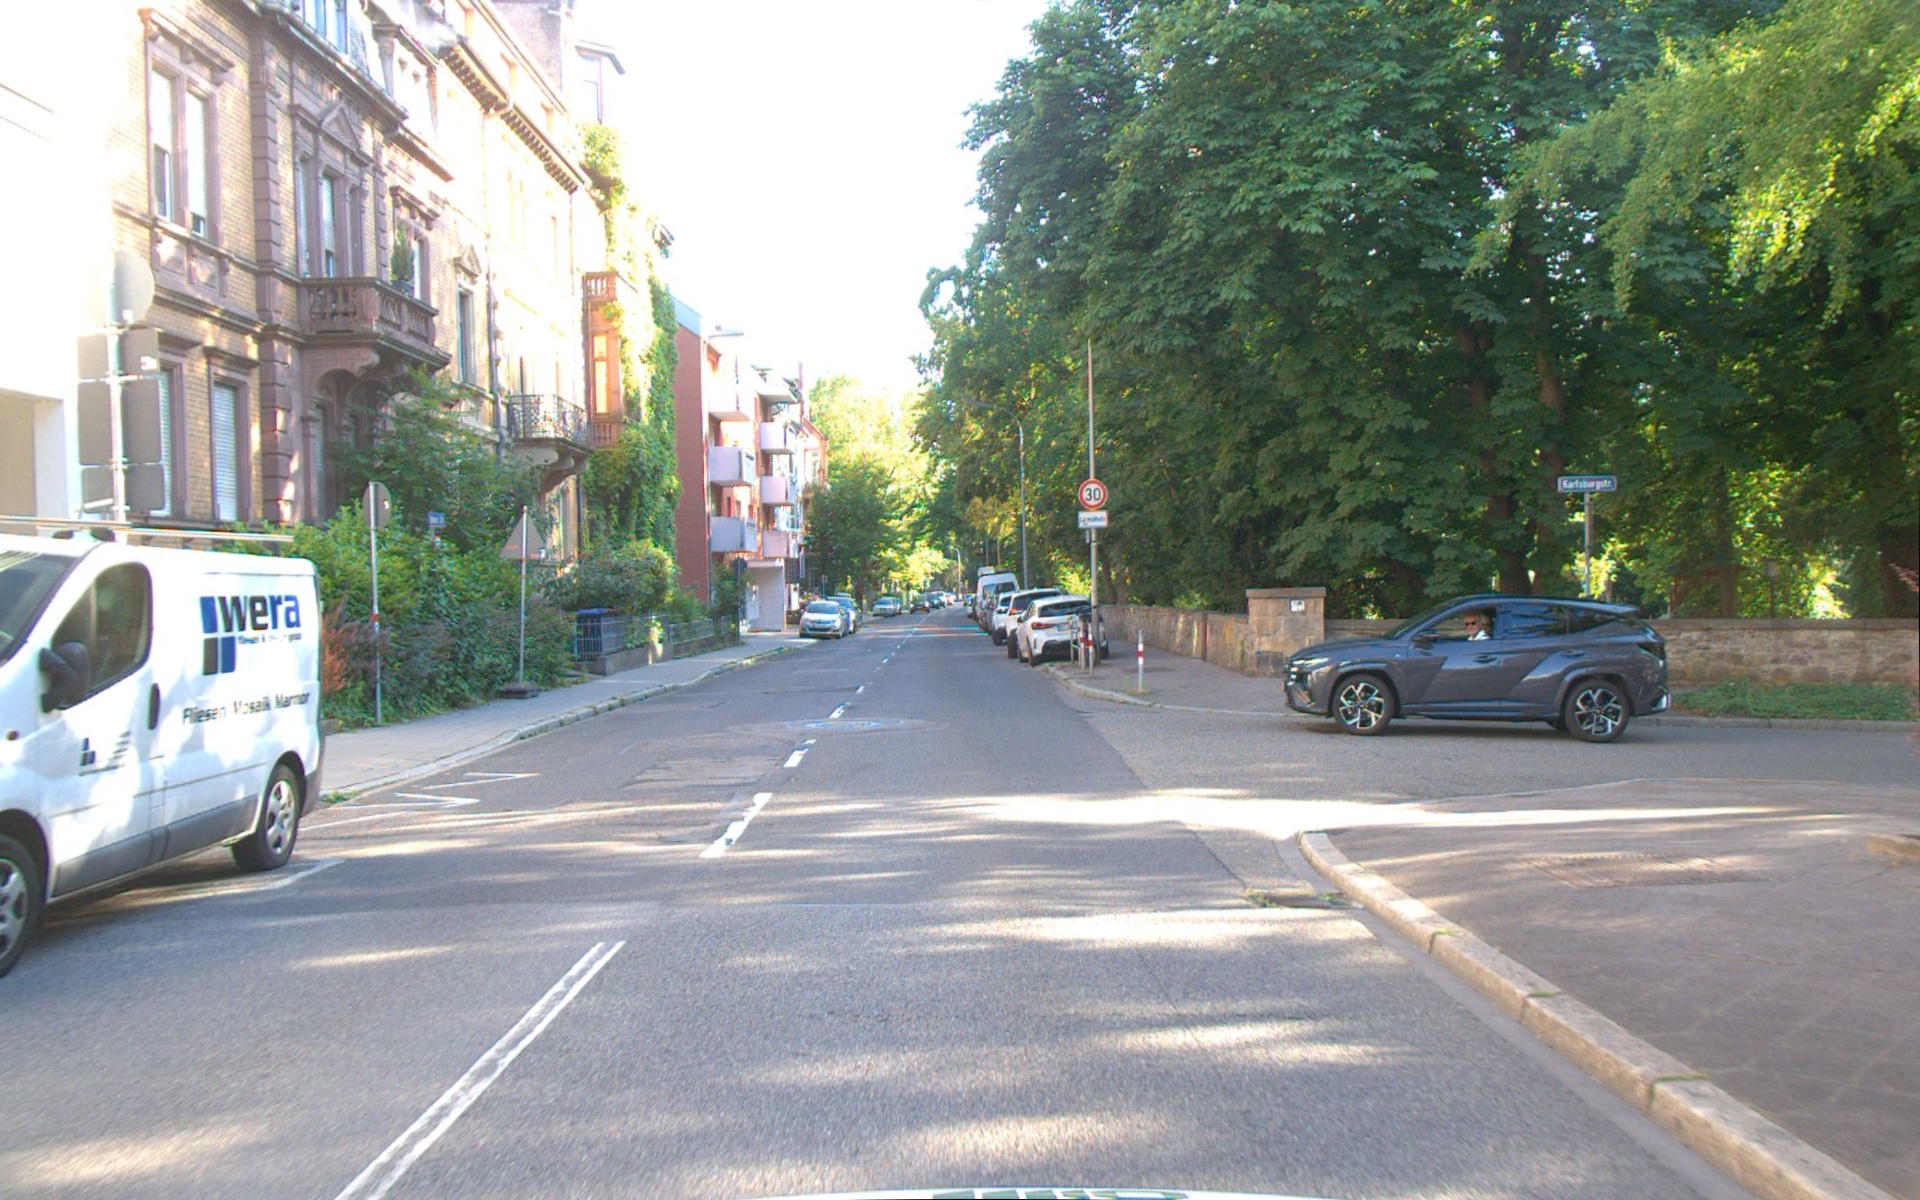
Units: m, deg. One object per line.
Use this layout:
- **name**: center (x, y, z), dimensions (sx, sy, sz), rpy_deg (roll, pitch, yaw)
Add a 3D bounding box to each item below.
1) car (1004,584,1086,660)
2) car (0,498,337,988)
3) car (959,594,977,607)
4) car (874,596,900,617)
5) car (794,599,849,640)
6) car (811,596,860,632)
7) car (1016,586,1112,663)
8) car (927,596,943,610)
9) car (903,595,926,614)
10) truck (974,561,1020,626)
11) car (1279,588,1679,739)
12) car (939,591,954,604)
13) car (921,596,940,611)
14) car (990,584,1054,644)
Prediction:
- **car**: center (2.178, 0.529, 43.268), dimensions (1.952, 1.767, 4.001), rpy_deg (-2, 1, 1)
- **car**: center (-4.939, 0.589, 8.579), dimensions (1.756, 2.045, 4.696), rpy_deg (0, 0, -2)
- **car**: center (1.007, 0.028, 206.472), dimensions (1.954, 1.517, 4.467), rpy_deg (-2, 1, -4)
- **car**: center (-6.040, 0.548, 136.647), dimensions (1.953, 1.517, 4.470), rpy_deg (-2, 1, -1)
- **car**: center (-5.806, 0.797, 69.818), dimensions (1.953, 1.517, 4.470), rpy_deg (-2, 1, -1)
- **car**: center (-5.801, 0.633, 77.745), dimensions (1.953, 1.517, 4.470), rpy_deg (-2, 1, -1)
- **car**: center (2.323, 0.522, 37.787), dimensions (1.952, 1.544, 4.001), rpy_deg (-2, 1, 1)
- **car**: center (-3.020, 0.333, 200.478), dimensions (1.953, 1.517, 4.470), rpy_deg (-2, 1, -1)
- **car**: center (-4.079, 0.367, 149.790), dimensions (1.953, 1.517, 4.470), rpy_deg (-2, 1, -1)
- **truck**: center (1.738, -0.338, 78.928), dimensions (1.953, 2.947, 4.470), rpy_deg (-2, 1, -1)
- **car**: center (6.123, 0.711, 20.006), dimensions (4.342, 1.681, 2.002), rpy_deg (0, 1, 8)
- **car**: center (-1.804, -0.340, 223.622), dimensions (1.953, 1.517, 4.470), rpy_deg (-2, 1, -1)
- **car**: center (-3.235, 0.357, 182.337), dimensions (1.953, 1.517, 4.470), rpy_deg (-2, 1, -1)
- **car**: center (1.991, 0.413, 53.923), dimensions (1.952, 1.767, 4.001), rpy_deg (-2, 1, 1)
